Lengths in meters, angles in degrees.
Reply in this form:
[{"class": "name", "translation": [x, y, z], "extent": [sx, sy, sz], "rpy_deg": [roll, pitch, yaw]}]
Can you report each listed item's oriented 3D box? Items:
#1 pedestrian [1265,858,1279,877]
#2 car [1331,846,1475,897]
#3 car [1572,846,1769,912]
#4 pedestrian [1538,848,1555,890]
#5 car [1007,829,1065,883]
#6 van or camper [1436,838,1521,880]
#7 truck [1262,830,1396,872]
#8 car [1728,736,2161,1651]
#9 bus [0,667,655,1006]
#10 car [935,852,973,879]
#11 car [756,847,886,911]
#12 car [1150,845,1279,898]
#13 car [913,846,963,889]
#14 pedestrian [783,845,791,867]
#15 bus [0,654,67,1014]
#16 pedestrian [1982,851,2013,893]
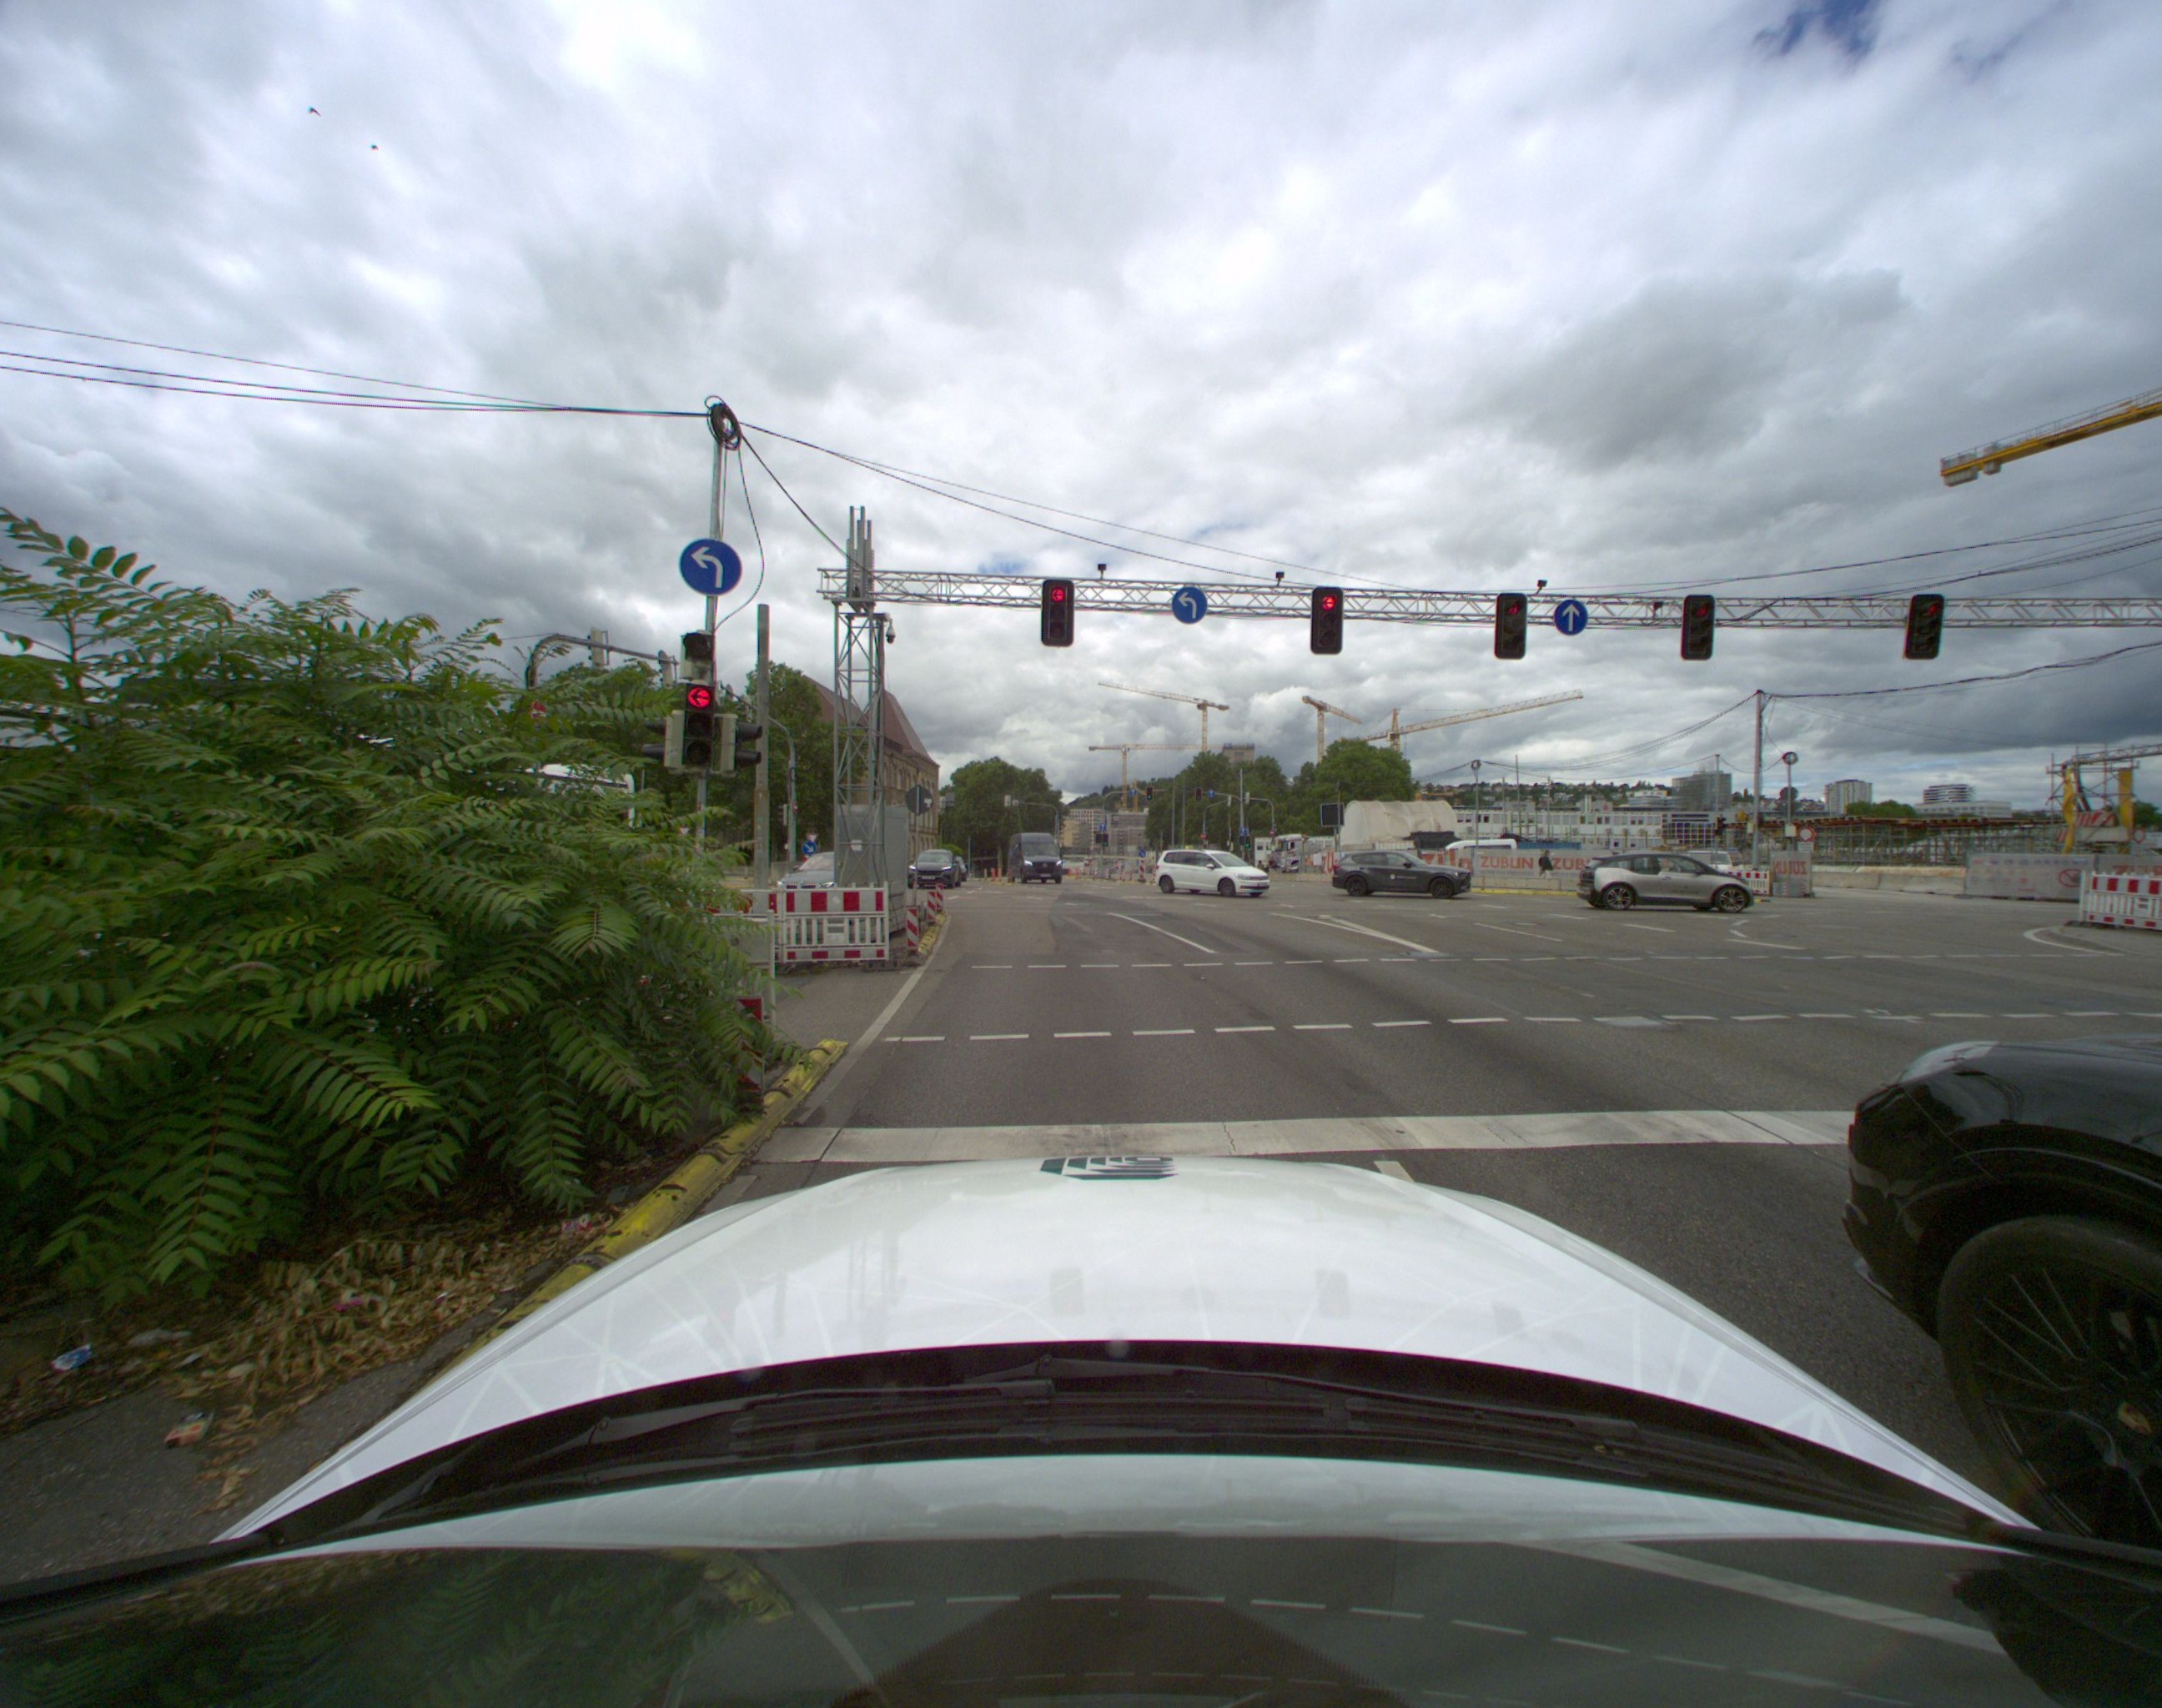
[{"class": "pedestrian", "translation": [14.054, 0.969, 59.922], "extent": [0.796, 1.378, 0.902], "rpy_deg": [0, 0, -7]}, {"class": "car", "translation": [11.524, 0.570, 29.246], "extent": [4.550, 1.670, 1.896], "rpy_deg": [1, 0, 31]}, {"class": "car", "translation": [15.886, 0.634, 22.198], "extent": [4.020, 1.668, 1.809], "rpy_deg": [0, 0, 18]}, {"class": "pedestrian", "translation": [22.213, 0.713, 38.870], "extent": [0.645, 2.013, 0.520], "rpy_deg": [0, 0, 27]}, {"class": "car", "translation": [-2.452, 0.083, 42.215], "extent": [2.059, 2.594, 5.988], "rpy_deg": [0, 0, -13]}, {"class": "van or camper", "translation": [23.070, 0.273, 47.447], "extent": [4.181, 2.357, 2.009], "rpy_deg": [0, 0, 16]}, {"class": "truck", "translation": [24.916, -0.309, 81.835], "extent": [13.062, 4.041, 3.926], "rpy_deg": [0, 0, -18]}, {"class": "car", "translation": [2.904, 0.636, 0.226], "extent": [1.947, 1.686, 4.638], "rpy_deg": [0, 0, 3]}, {"class": "bus", "translation": [-10.419, -0.184, 12.098], "extent": [2.833, 3.114, 9.132], "rpy_deg": [0, 0, 4]}, {"class": "car", "translation": [-7.431, 0.660, 47.988], "extent": [1.702, 1.513, 4.286], "rpy_deg": [0, 0, -2]}, {"class": "car", "translation": [-6.543, 0.571, 21.068], "extent": [1.871, 1.472, 4.445], "rpy_deg": [0, 0, 1]}, {"class": "car", "translation": [4.723, 0.565, 29.273], "extent": [1.894, 1.736, 4.392], "rpy_deg": [0, 0, -41]}, {"class": "car", "translation": [-5.925, 0.515, 33.741], "extent": [1.878, 1.670, 4.429], "rpy_deg": [0, 0, -10]}, {"class": "pedestrian", "translation": [-26.847, 0.212, 74.311], "extent": [0.530, 2.014, 0.423], "rpy_deg": [1, -1, -42]}, {"class": "bus", "translation": [-11.036, -0.157, 2.665], "extent": [2.833, 3.114, 9.758], "rpy_deg": [0, 0, 4]}, {"class": "pedestrian", "translation": [38.733, 0.751, 34.433], "extent": [0.651, 1.795, 0.617], "rpy_deg": [0, 0, -7]}]
